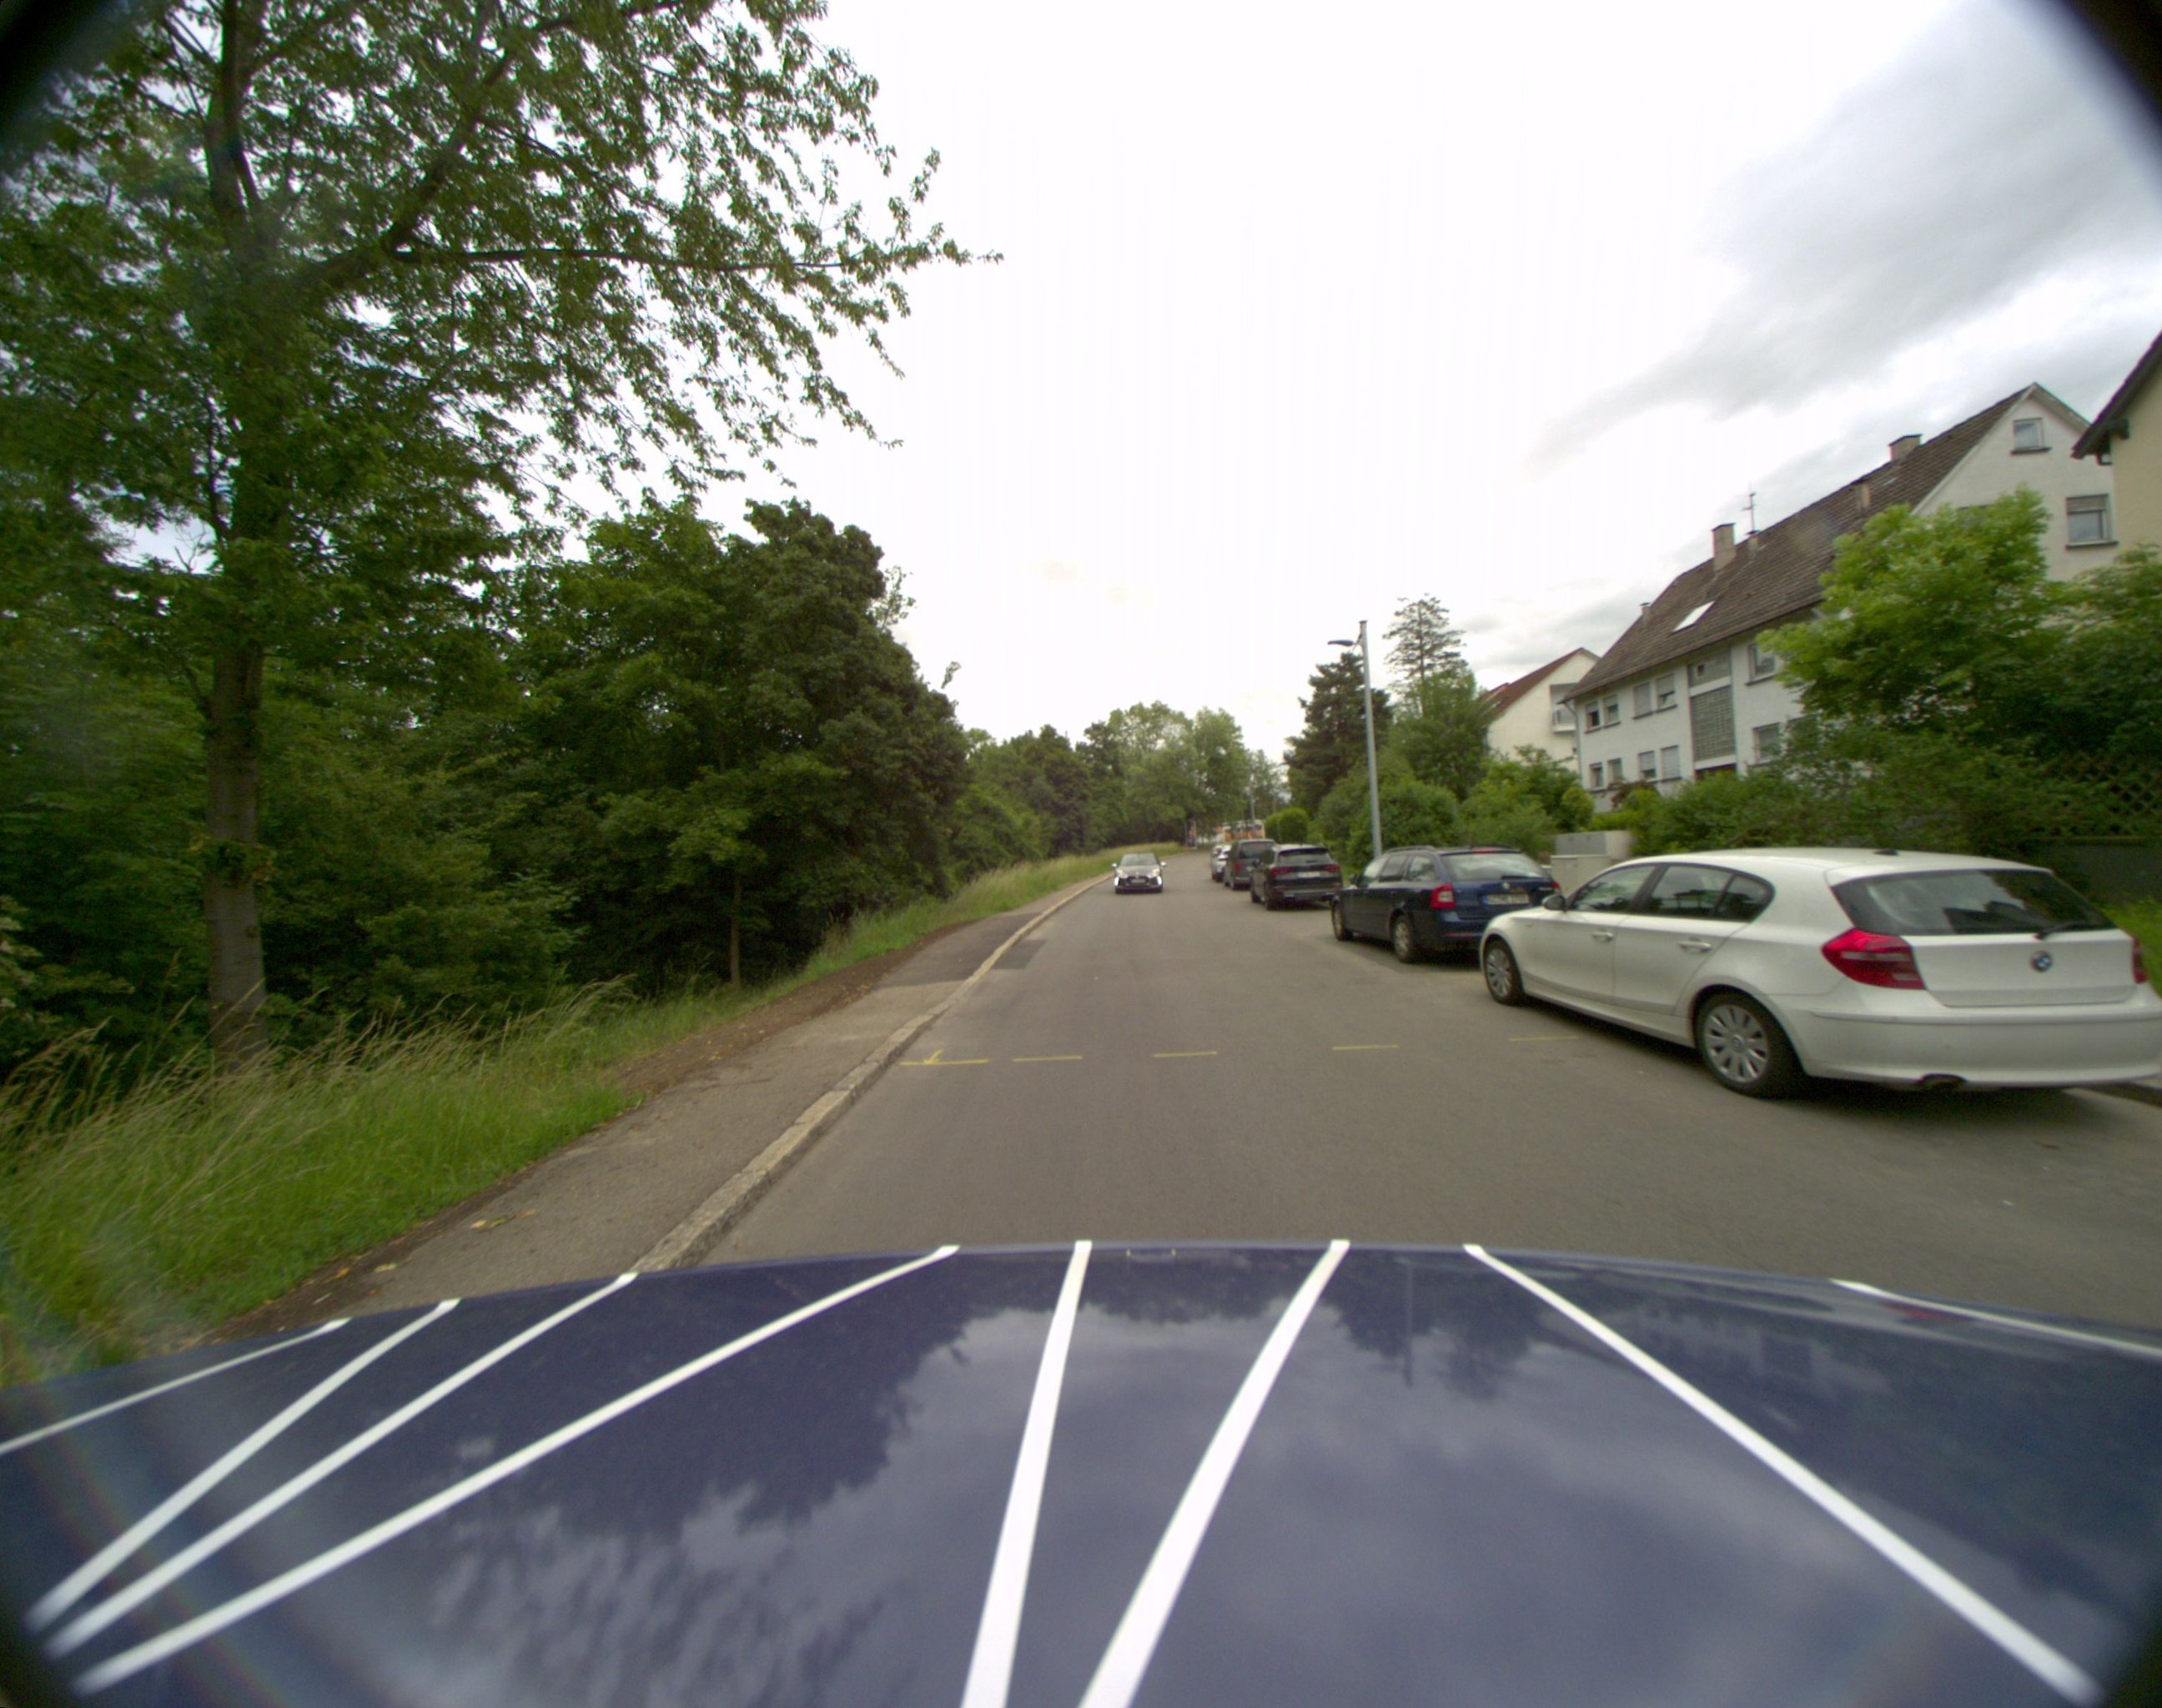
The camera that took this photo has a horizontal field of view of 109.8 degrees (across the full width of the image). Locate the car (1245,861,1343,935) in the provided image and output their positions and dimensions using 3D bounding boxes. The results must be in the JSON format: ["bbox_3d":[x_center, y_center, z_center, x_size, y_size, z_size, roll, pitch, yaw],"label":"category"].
[{"bbox_3d":[5.337,1.044,19.537,1.665,1.573,4.078,-2,1,5],"label":"car"}]

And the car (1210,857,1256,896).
[{"bbox_3d":[6.615,0.929,33.451,1.665,1.497,4.046,-1,1,7],"label":"car"}]

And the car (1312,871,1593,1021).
[{"bbox_3d":[4.889,1.093,10.922,1.731,1.564,4.815,-1,0,1],"label":"car"}]

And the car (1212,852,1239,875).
[{"bbox_3d":[9.776,0.637,51.534,1.735,1.420,3.460,-2,1,10],"label":"car"}]

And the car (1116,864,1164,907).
[{"bbox_3d":[2.255,1.124,28.409,1.619,1.460,4.002,-1,-1,6],"label":"car"}]

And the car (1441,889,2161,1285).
[{"bbox_3d":[4.603,1.121,5.622,1.729,1.382,4.726,-2,1,2],"label":"car"}]

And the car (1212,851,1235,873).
[{"bbox_3d":[10.457,0.576,55.794,1.604,1.521,3.590,-1,1,11],"label":"car"}]

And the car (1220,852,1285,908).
[{"bbox_3d":[6.257,0.893,28.121,1.800,1.790,4.065,-2,1,6],"label":"car"}]
